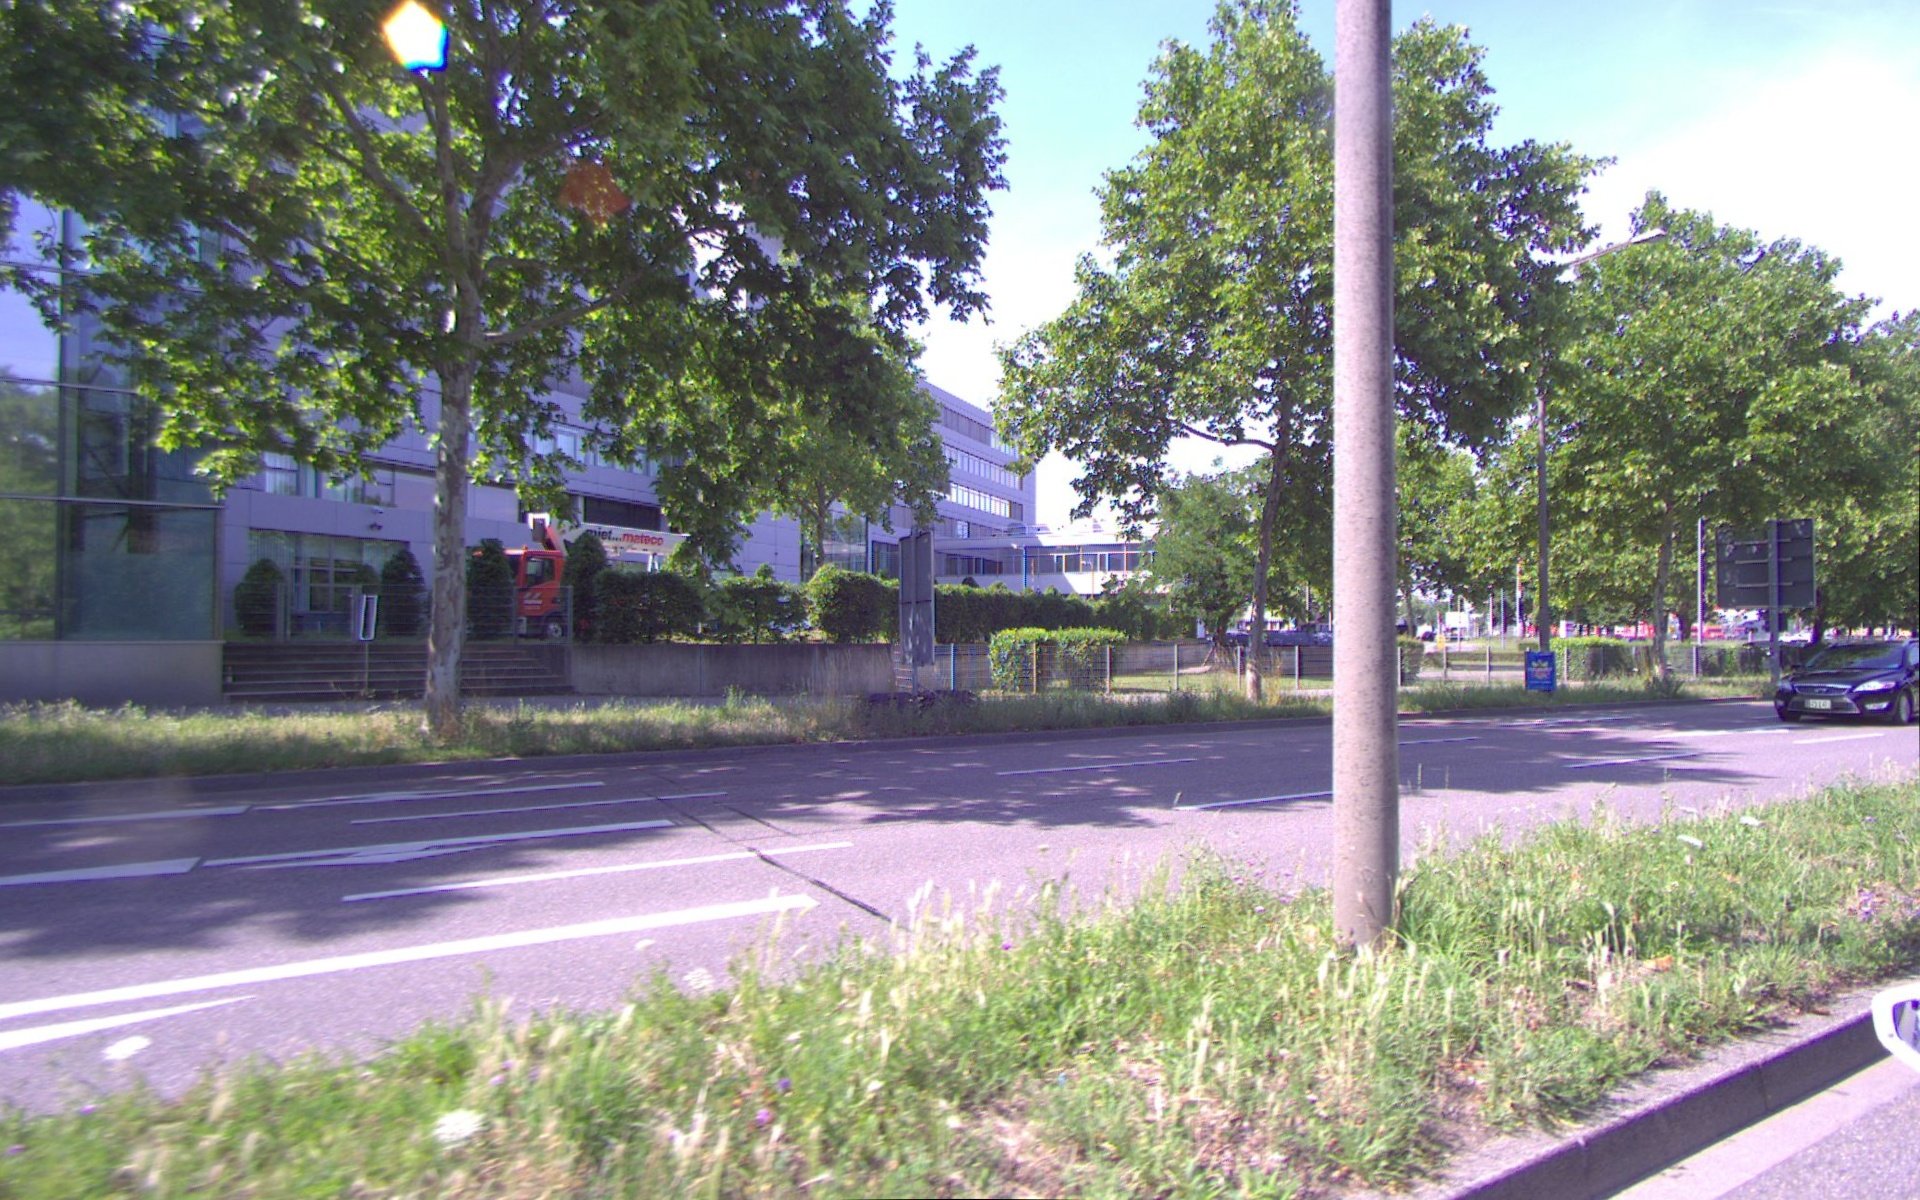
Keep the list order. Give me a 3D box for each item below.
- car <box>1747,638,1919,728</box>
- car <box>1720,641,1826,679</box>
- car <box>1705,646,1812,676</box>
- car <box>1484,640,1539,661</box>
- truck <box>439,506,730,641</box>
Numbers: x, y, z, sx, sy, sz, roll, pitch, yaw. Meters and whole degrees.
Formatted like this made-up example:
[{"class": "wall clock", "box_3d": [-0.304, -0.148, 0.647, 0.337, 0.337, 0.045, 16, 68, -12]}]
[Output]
[{"class": "car", "box_3d": [16.927, 1.476, 18.865, 4.933, 1.487, 1.817, 2, -2, -32]}, {"class": "car", "box_3d": [43.938, 3.211, 54.367, 2.128, 1.847, 3.974, 2, -1, -26]}, {"class": "car", "box_3d": [41.479, 3.133, 52.271, 1.751, 1.483, 3.970, 1, -2, -29]}, {"class": "car", "box_3d": [45.754, 4.202, 83.394, 1.774, 1.524, 3.989, -1, 0, -13]}, {"class": "truck", "box_3d": [-10.711, -0.520, 30.059, 2.622, 3.440, 8.985, 0, -2, 24]}]
